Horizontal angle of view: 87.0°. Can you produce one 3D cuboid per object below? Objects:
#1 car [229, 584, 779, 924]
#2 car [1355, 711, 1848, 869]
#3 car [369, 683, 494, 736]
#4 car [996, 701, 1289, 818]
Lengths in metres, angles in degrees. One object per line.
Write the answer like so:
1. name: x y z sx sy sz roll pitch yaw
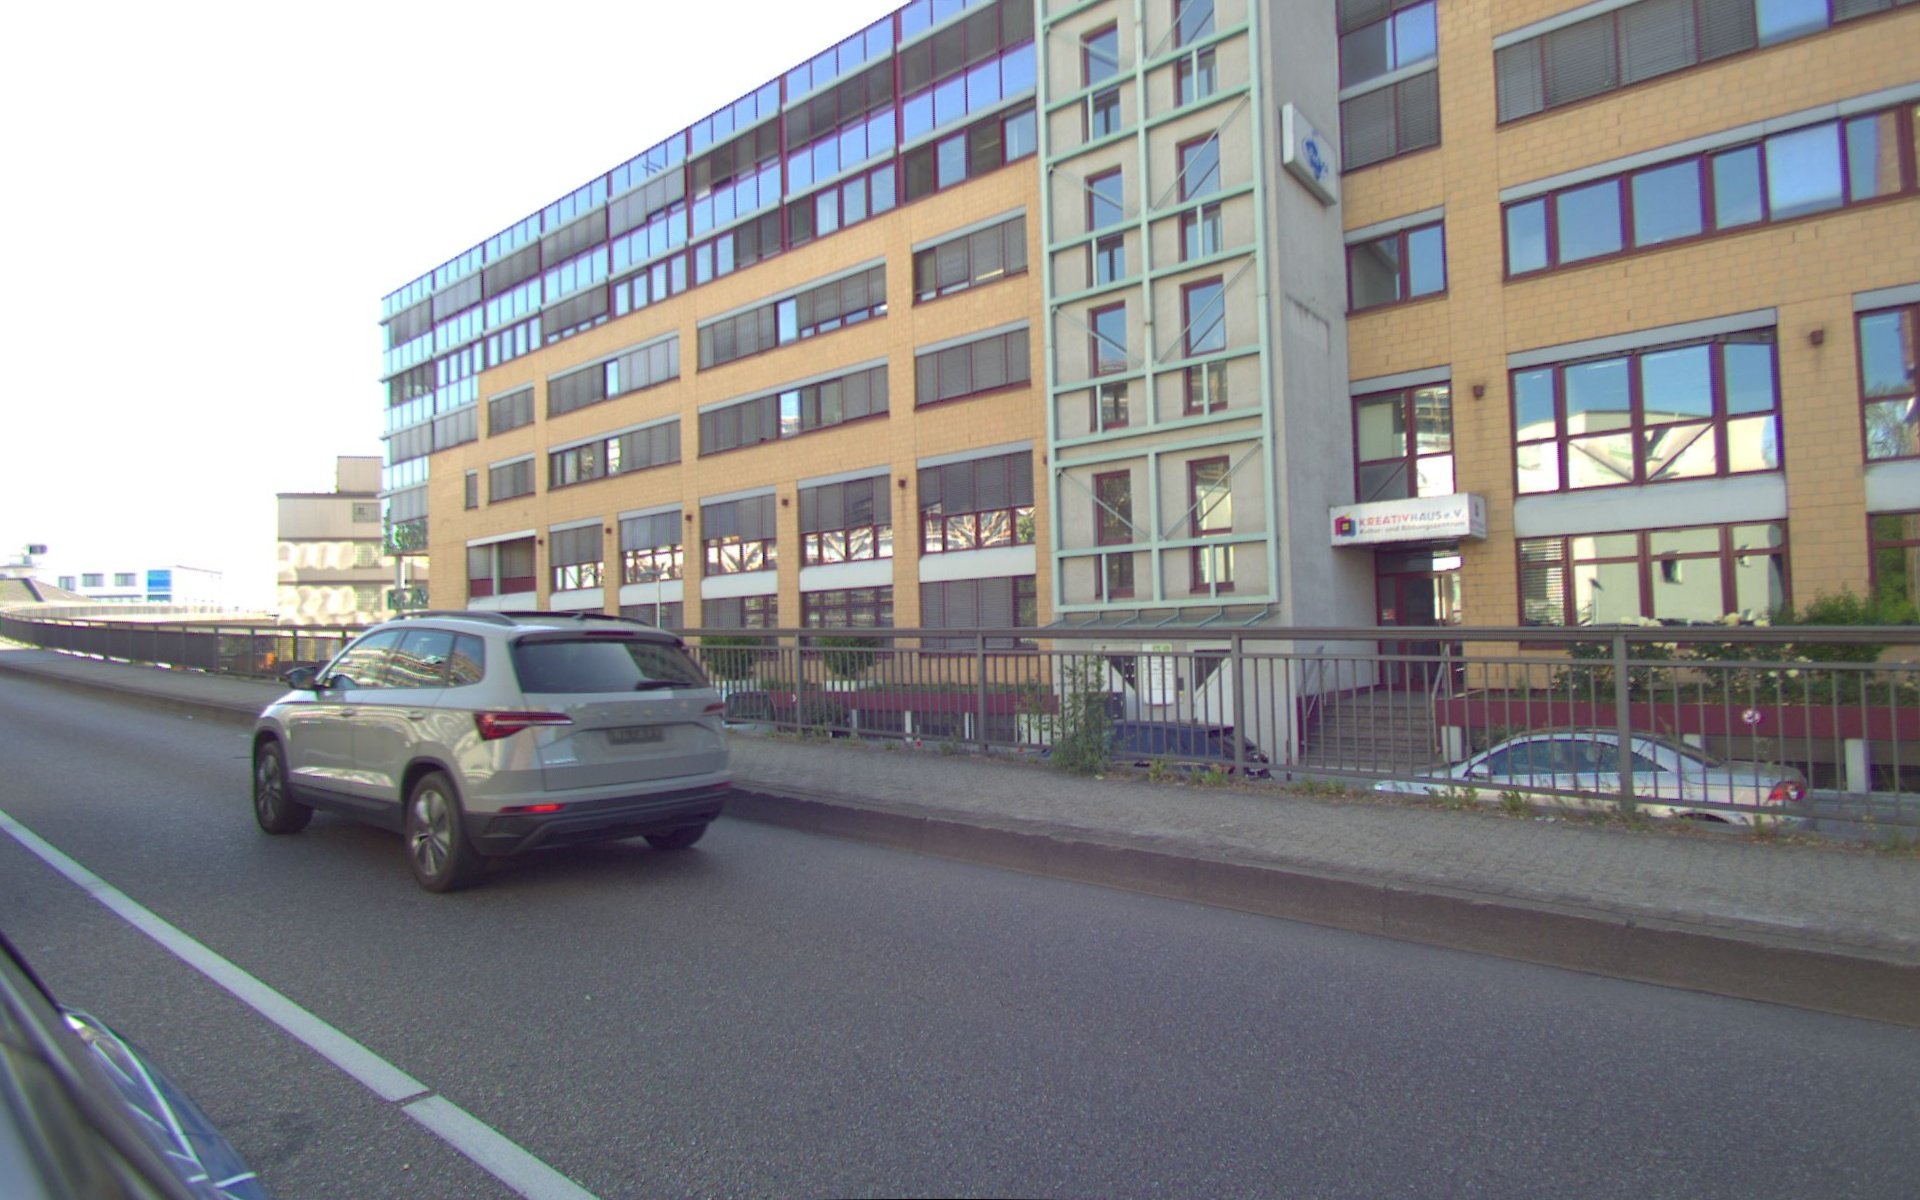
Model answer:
1. car: -3.232 0.826 6.858 3.995 1.636 1.786 -2 -3 39
2. car: 6.762 1.907 11.018 4.253 1.175 1.704 -3 -4 39
3. car: -14.827 3.009 28.326 3.805 1.279 1.744 -3 -4 39
4. car: 2.493 2.149 14.331 3.805 1.279 1.560 -3 -4 39
